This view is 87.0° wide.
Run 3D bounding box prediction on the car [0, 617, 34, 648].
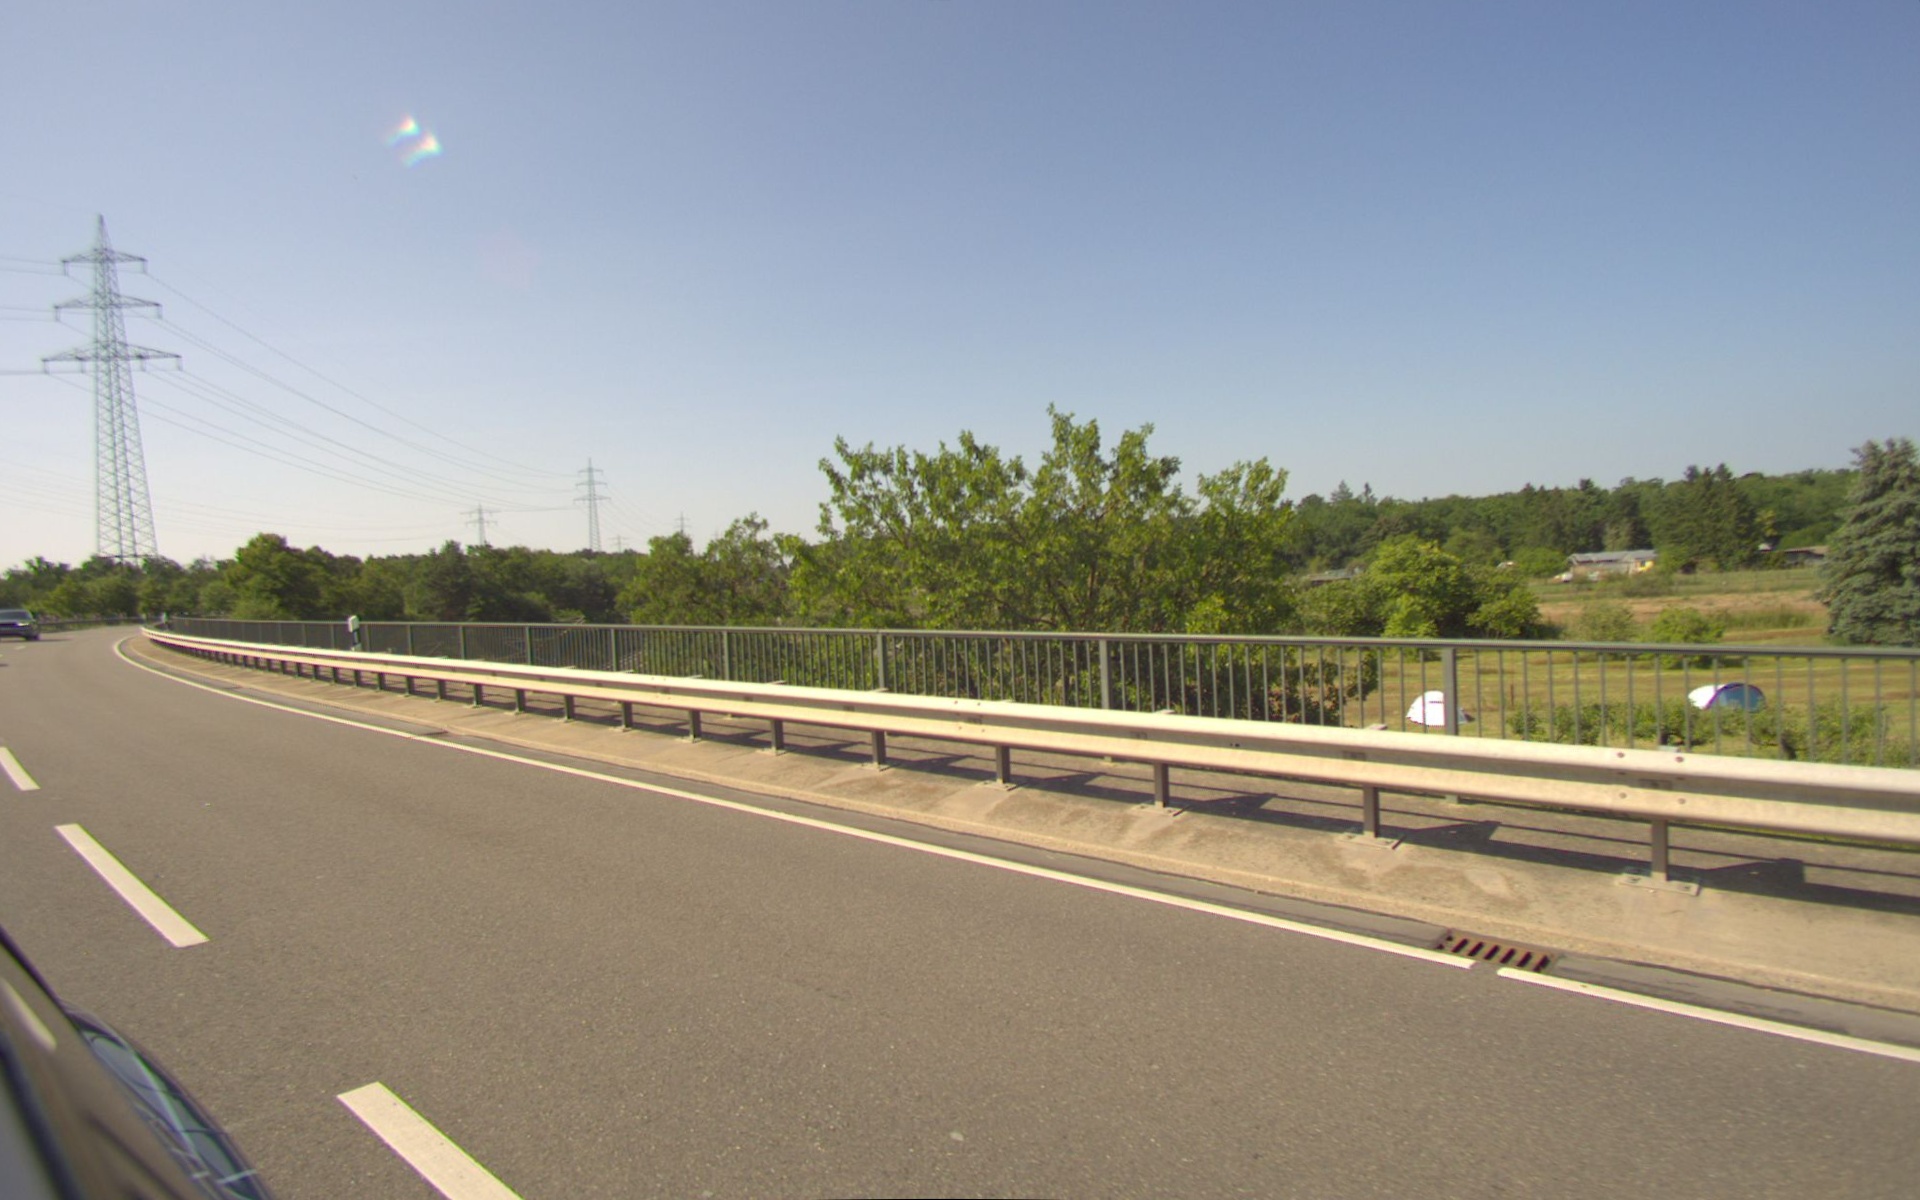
[{"bbox_3d":[-50.405,1.713,53.635,1.582,1.506,4.009,-2,1,-37],"label":"car"}]
